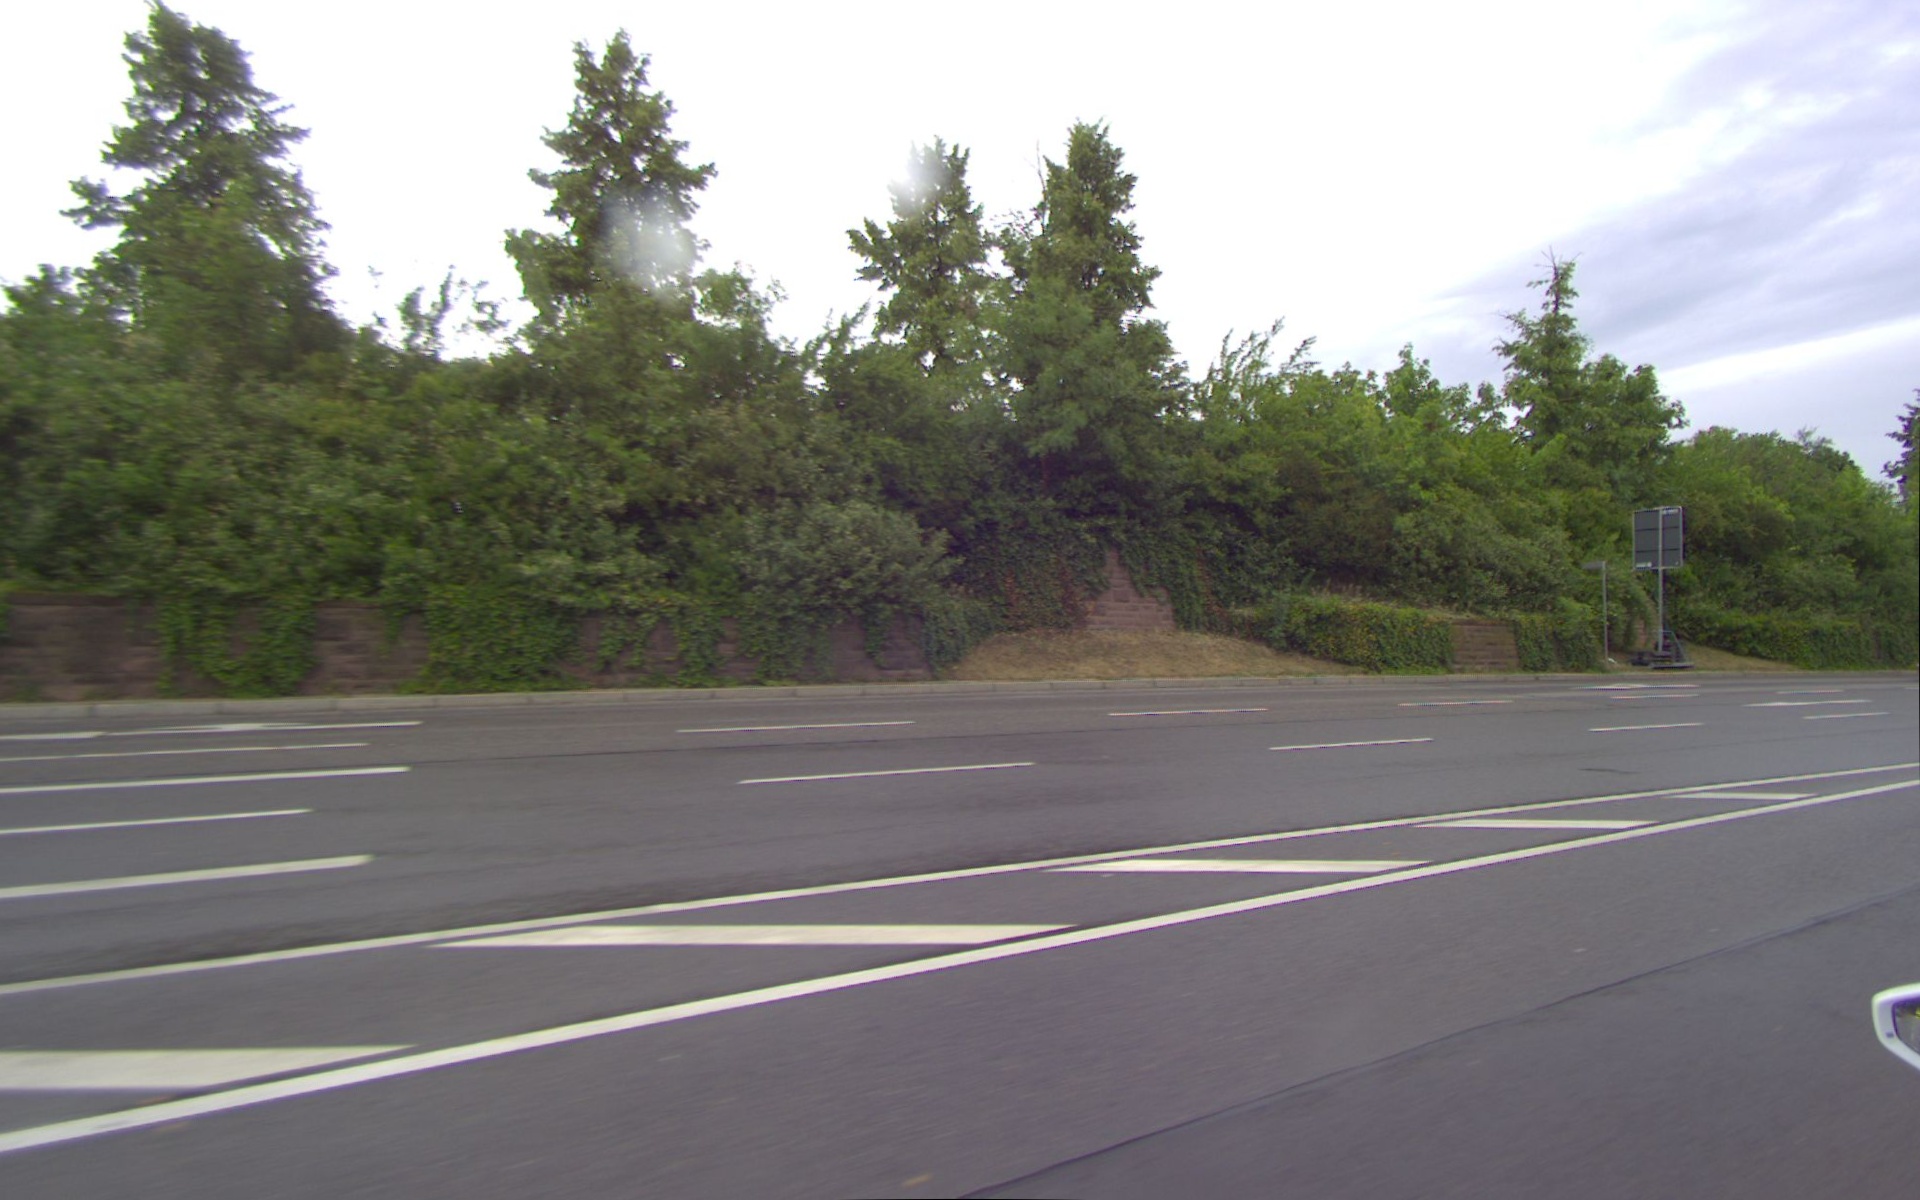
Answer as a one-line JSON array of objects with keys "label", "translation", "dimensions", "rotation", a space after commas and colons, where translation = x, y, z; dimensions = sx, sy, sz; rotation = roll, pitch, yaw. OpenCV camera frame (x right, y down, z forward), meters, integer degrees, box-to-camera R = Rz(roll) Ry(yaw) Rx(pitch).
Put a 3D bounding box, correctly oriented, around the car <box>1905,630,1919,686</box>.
[{"label": "car", "translation": [29.284, 1.709, 29.083], "dimensions": [3.846, 1.586, 1.717], "rotation": [1, 1, -30]}]
